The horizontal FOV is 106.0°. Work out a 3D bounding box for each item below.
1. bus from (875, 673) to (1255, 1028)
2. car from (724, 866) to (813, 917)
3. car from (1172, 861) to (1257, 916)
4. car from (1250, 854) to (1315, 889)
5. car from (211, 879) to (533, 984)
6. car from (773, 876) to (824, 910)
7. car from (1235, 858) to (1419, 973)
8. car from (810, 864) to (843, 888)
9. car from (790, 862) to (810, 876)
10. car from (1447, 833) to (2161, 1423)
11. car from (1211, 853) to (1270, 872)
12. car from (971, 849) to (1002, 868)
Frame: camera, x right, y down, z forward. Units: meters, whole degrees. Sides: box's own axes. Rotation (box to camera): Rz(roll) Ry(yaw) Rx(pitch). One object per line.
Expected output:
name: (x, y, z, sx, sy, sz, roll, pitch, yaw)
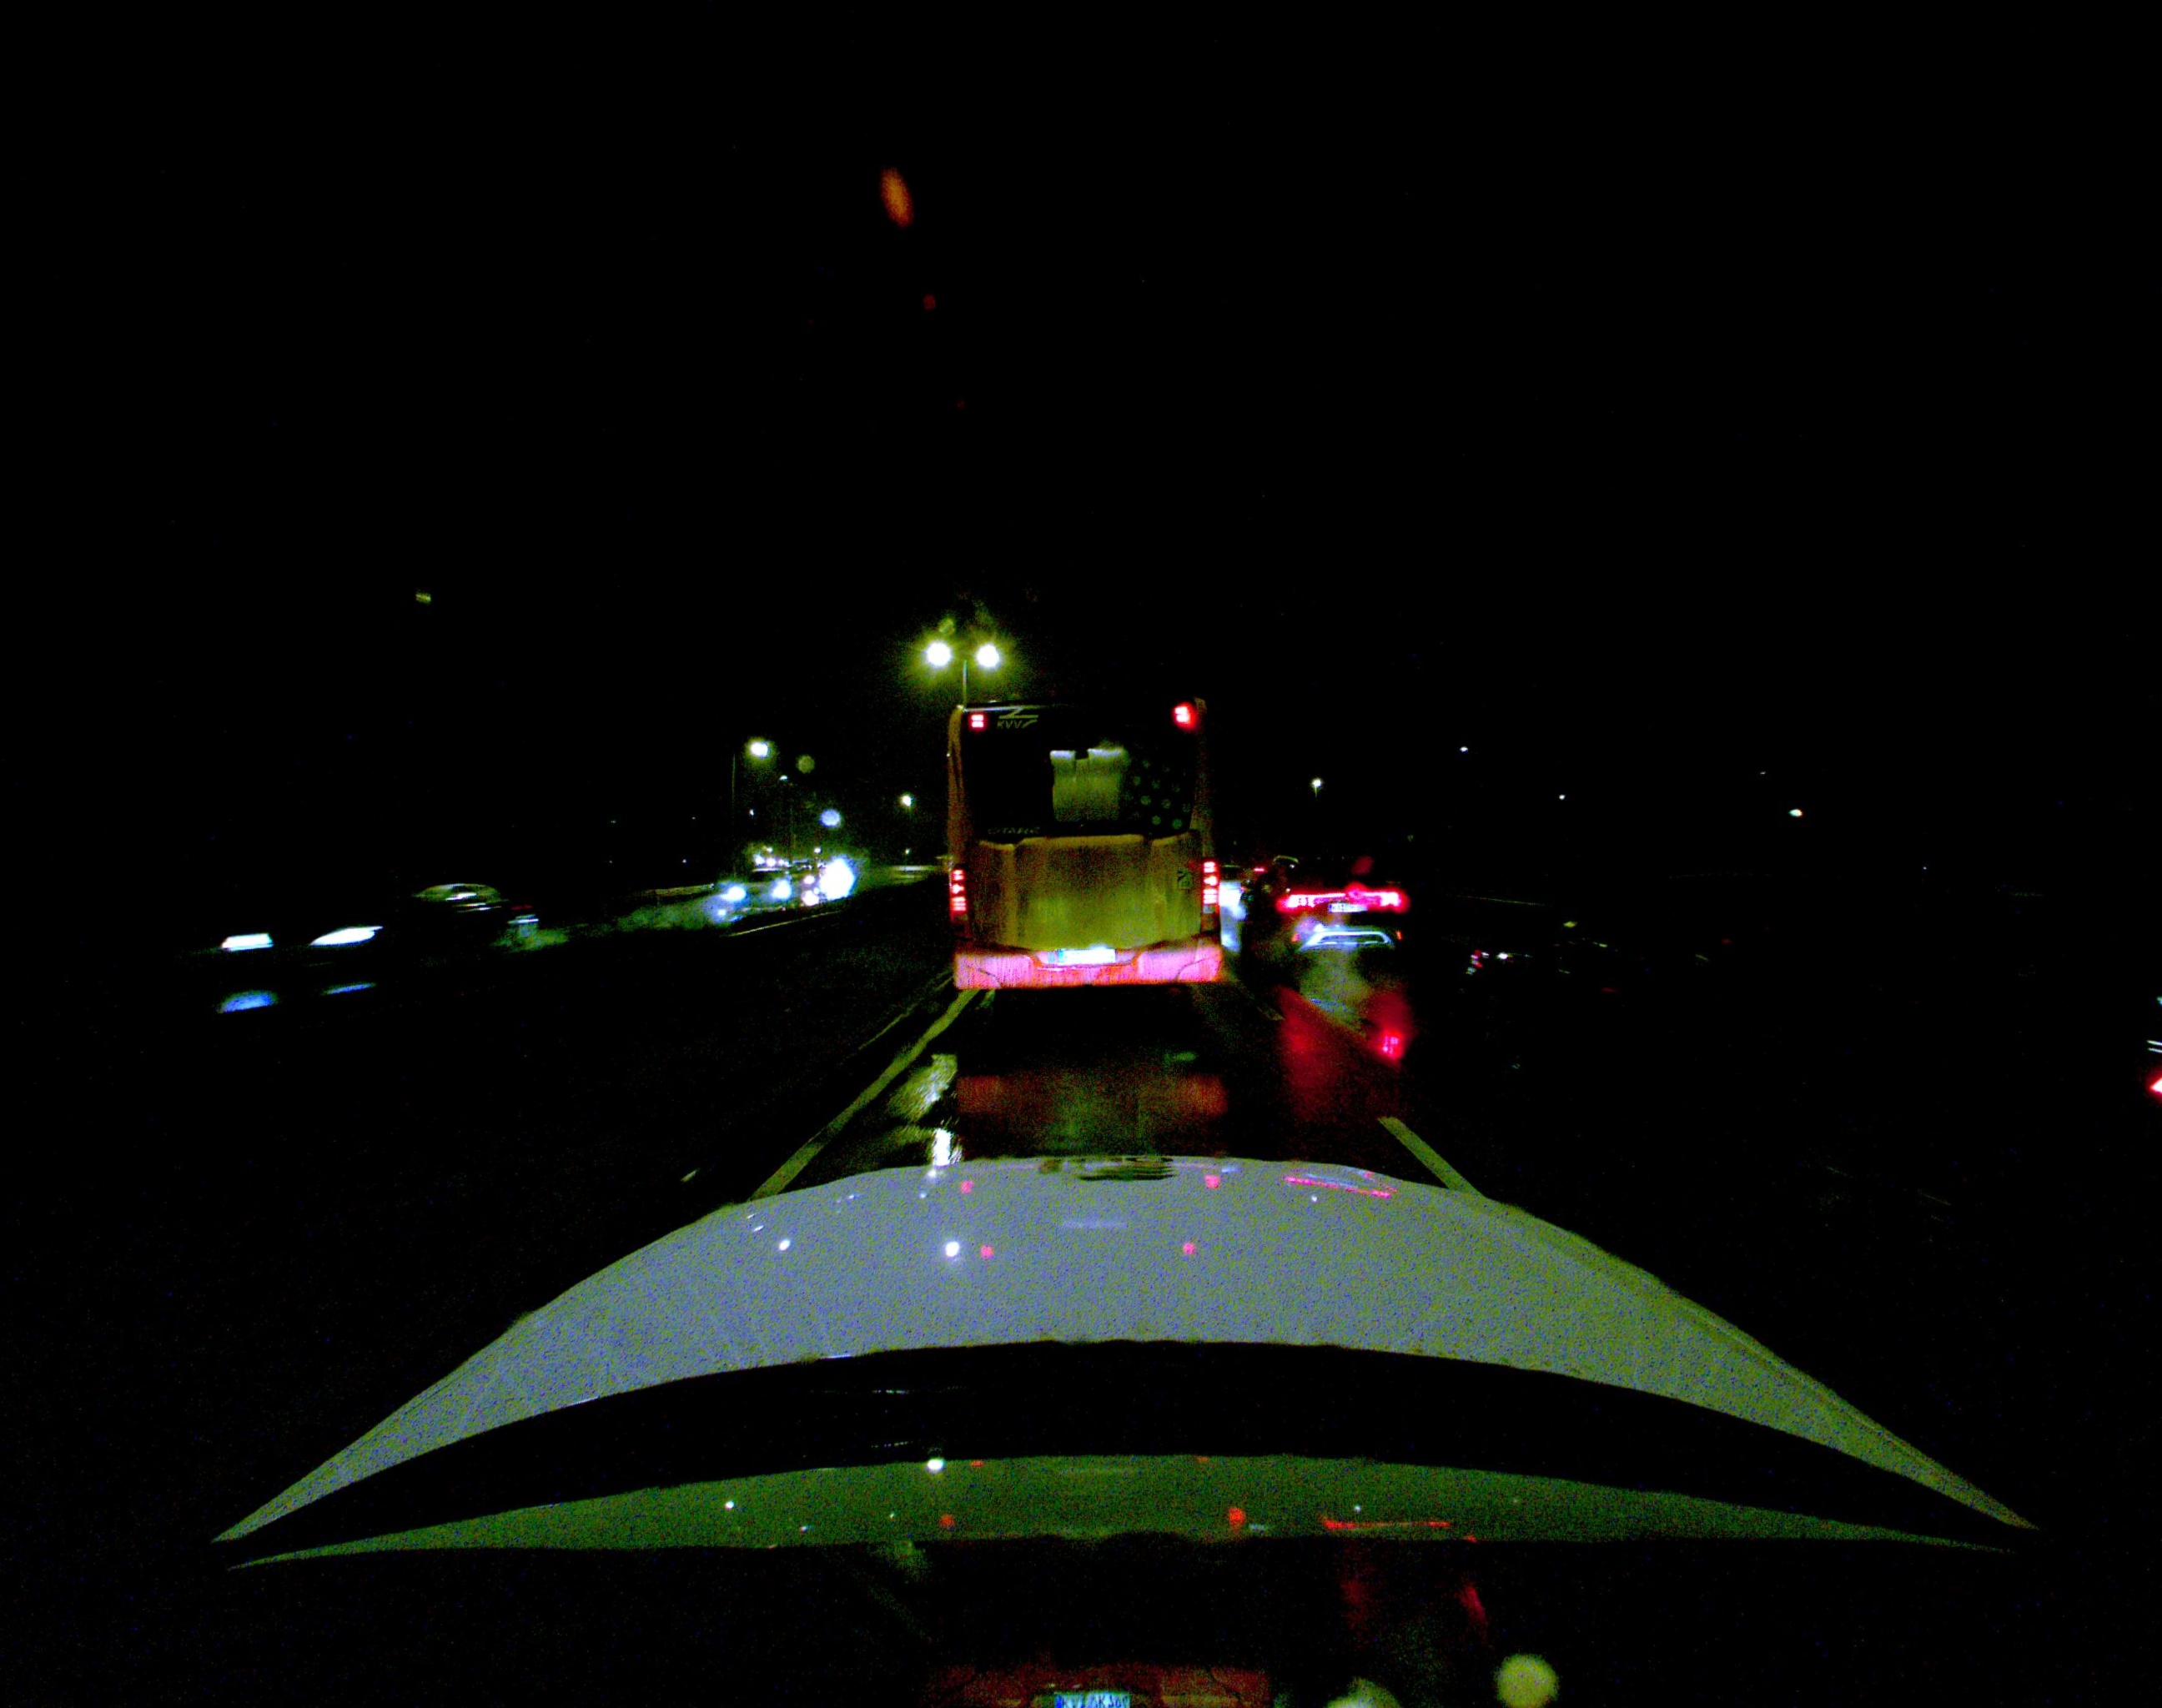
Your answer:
bus: (-0.216, -0.091, 11.963, 3.276, 3.050, 9.539, -2, 1, -1)
car: (-10.770, 1.268, 28.389, 1.867, 1.608, 4.239, -1, -1, -6)
car: (3.641, 0.920, 22.792, 1.681, 1.330, 3.959, -3, -1, 0)
car: (9.131, 0.794, 37.292, 1.986, 1.481, 4.339, 1, -1, 1)
car: (-11.795, 1.182, 14.087, 1.708, 1.423, 4.660, -1, -1, -4)
car: (-14.911, 2.019, 43.193, 1.765, 1.631, 4.237, -1, 0, -9)
car: (3.655, 0.855, 12.842, 1.672, 1.521, 3.958, 0, -1, -1)
car: (-18.066, 1.532, 57.865, 1.850, 1.571, 3.493, -1, 0, -12)
car: (-33.338, 1.783, 96.451, 1.750, 1.502, 3.965, -1, -1, -26)
car: (3.680, 0.761, 4.207, 1.666, 1.506, 4.561, 1, -1, 2)
car: (13.319, 0.692, 68.051, 4.477, 1.519, 1.853, 0, 1, -6)
car: (-9.137, 0.481, 78.340, 2.002, 1.721, 3.970, 0, -1, -22)
